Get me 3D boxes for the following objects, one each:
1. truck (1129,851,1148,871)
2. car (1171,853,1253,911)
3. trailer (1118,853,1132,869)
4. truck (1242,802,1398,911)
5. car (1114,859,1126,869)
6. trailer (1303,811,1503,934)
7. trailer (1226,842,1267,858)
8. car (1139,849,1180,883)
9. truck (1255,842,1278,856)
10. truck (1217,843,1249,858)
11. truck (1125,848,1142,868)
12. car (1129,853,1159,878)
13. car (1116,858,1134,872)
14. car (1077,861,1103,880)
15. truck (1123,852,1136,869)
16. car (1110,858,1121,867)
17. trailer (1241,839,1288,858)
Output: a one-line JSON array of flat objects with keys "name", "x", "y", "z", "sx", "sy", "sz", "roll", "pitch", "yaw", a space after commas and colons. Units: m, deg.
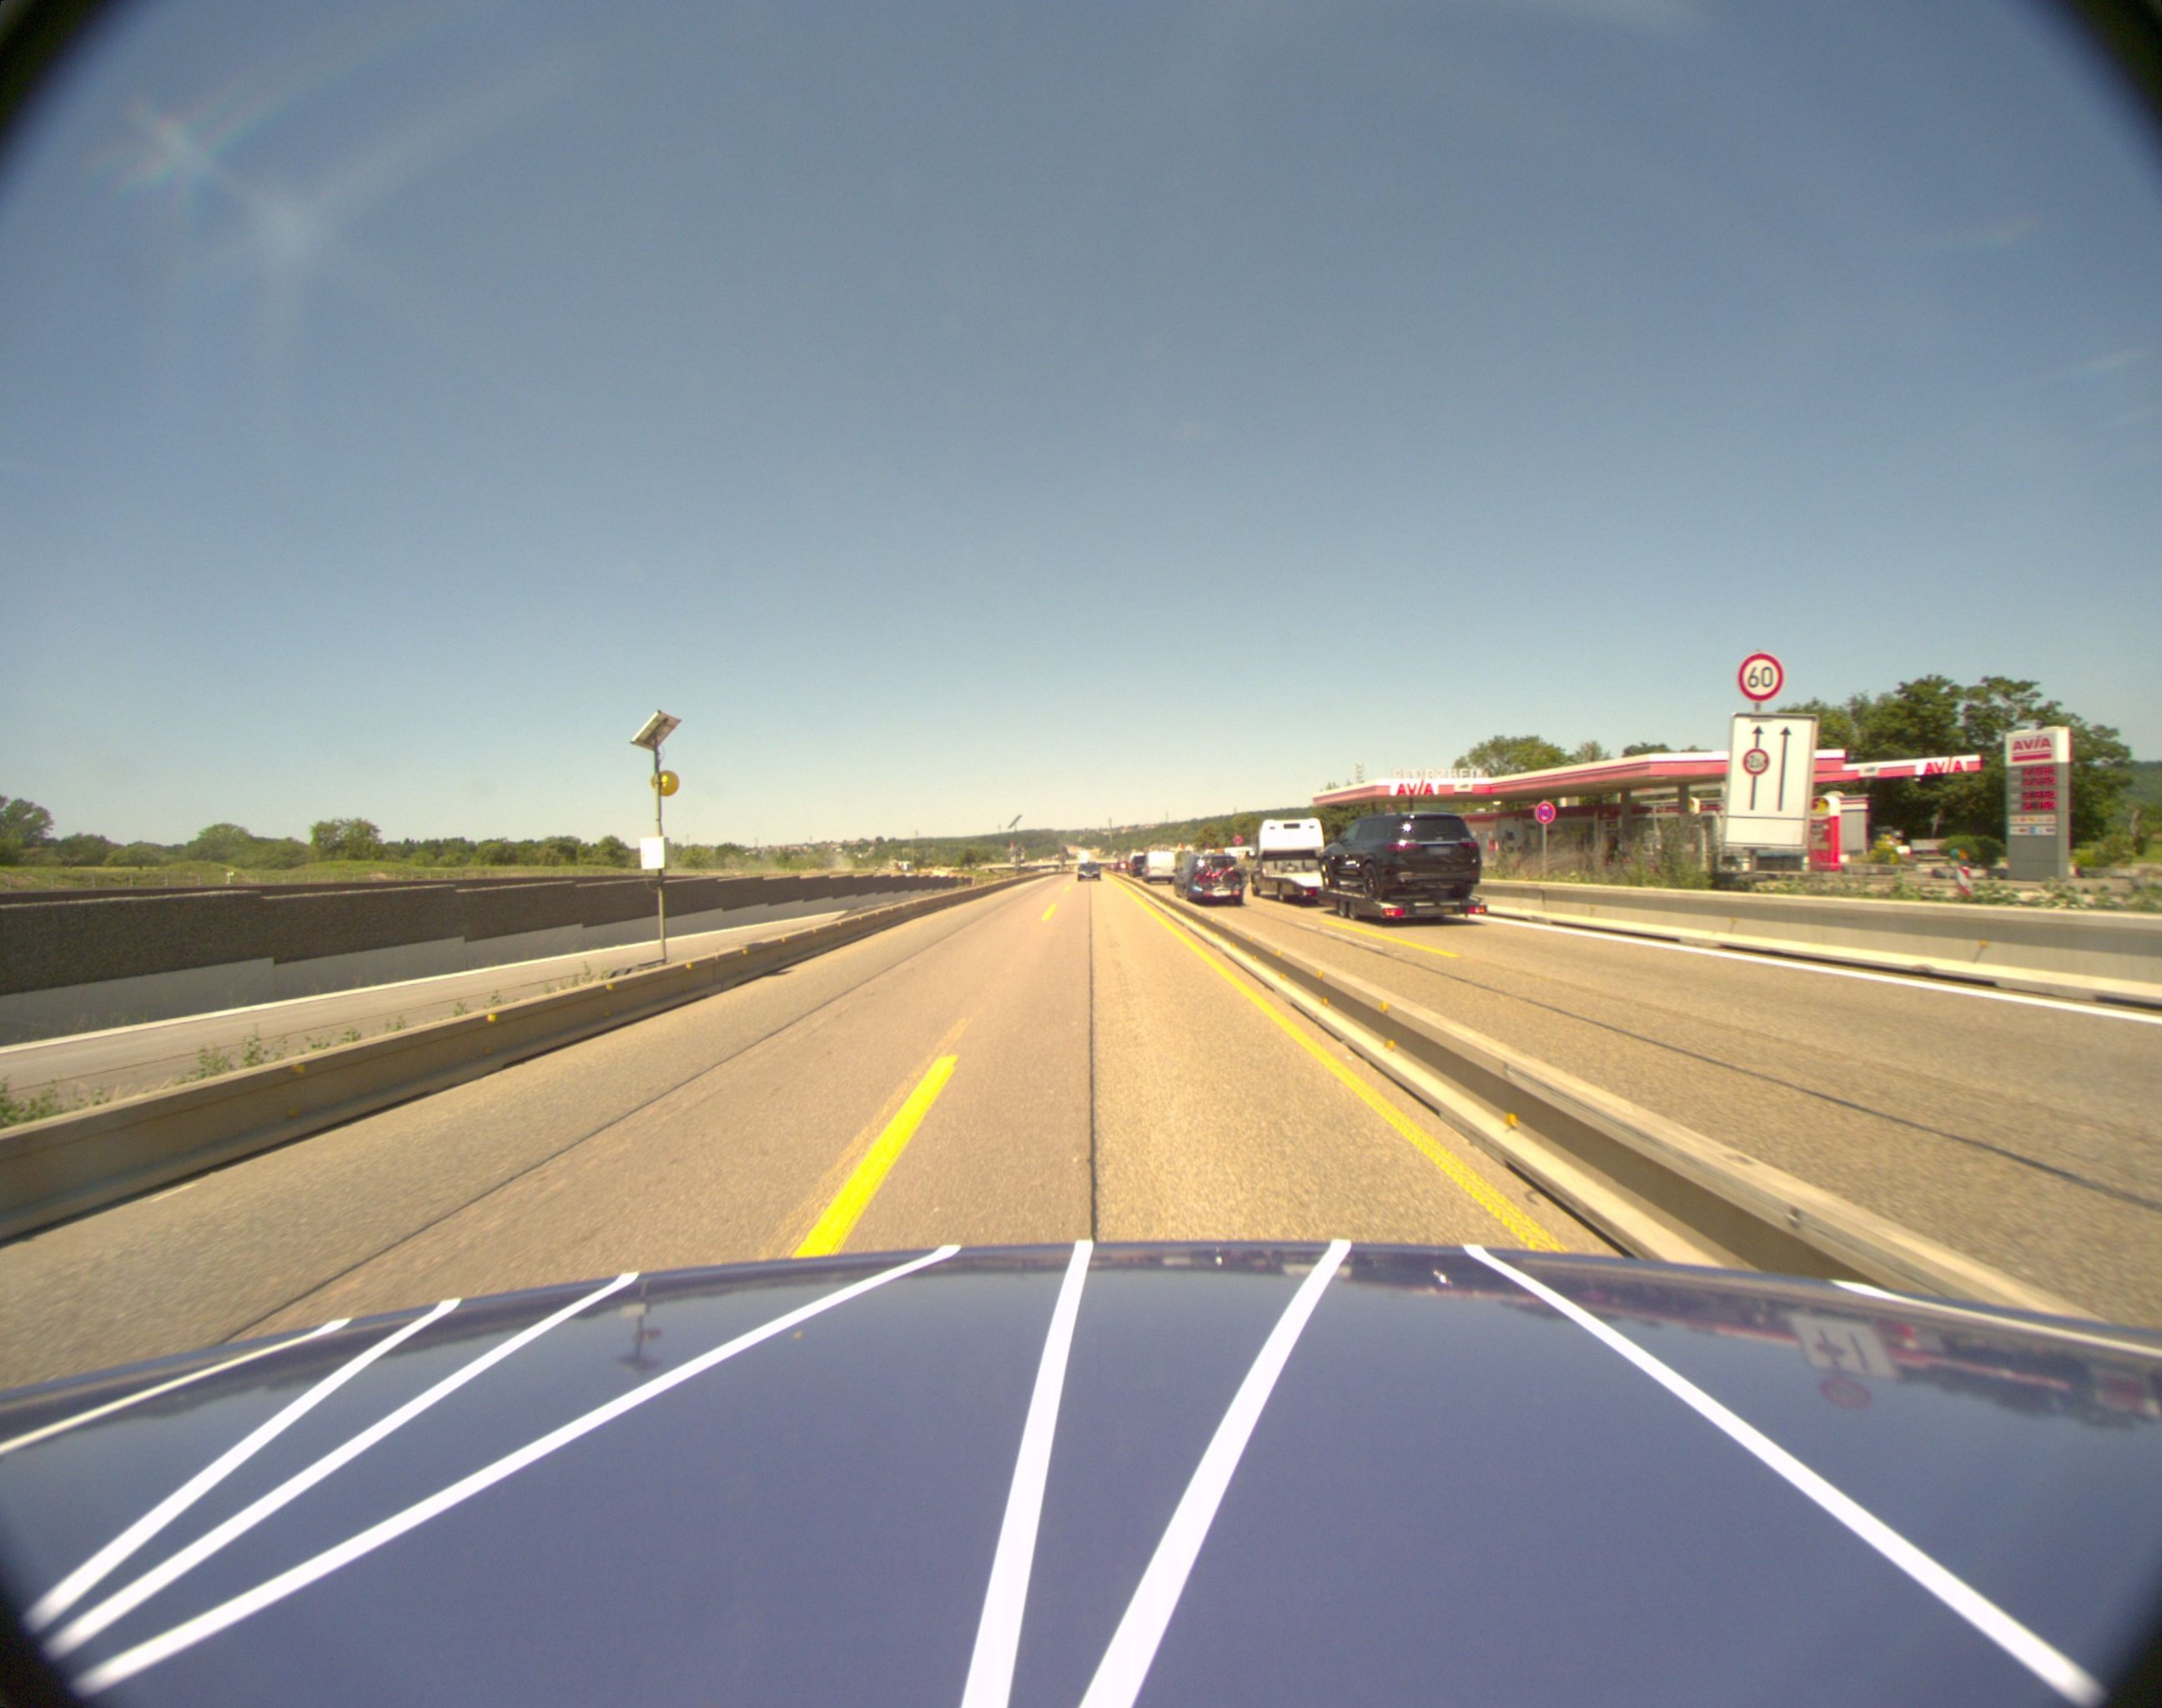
[{"name": "truck", "x": 8.369, "y": 1.028, "z": 111.563, "sx": 2.245, "sy": 2.769, "sz": 6.493, "roll": -2, "pitch": -1, "yaw": 0}, {"name": "car", "x": 4.023, "y": 0.836, "z": 23.931, "sx": 1.909, "sy": 1.599, "sz": 4.001, "roll": -2, "pitch": -1, "yaw": 1}, {"name": "trailer", "x": 11.688, "y": 1.973, "z": 202.896, "sx": 3.014, "sy": 4.173, "sz": 13.854, "roll": -2, "pitch": -1, "yaw": 2}, {"name": "truck", "x": 7.220, "y": 0.089, "z": 24.251, "sx": 2.486, "sy": 2.807, "sz": 8.129, "roll": -2, "pitch": 0, "yaw": 1}, {"name": "car", "x": 6.386, "y": 1.643, "z": 125.198, "sx": 1.943, "sy": 1.601, "sz": 4.001, "roll": -2, "pitch": -1, "yaw": 2}, {"name": "trailer", "x": 6.993, "y": 0.376, "z": 17.371, "sx": 2.187, "sy": 2.301, "sz": 5.614, "roll": -2, "pitch": 0, "yaw": 1}, {"name": "trailer", "x": 50.373, "y": -1.107, "z": 231.980, "sx": 2.625, "sy": 3.762, "sz": 12.722, "roll": -4, "pitch": -1, "yaw": -45}, {"name": "car", "x": 4.481, "y": 0.704, "z": 43.808, "sx": 1.858, "sy": 1.828, "sz": 4.591, "roll": -2, "pitch": -1, "yaw": 0}, {"name": "truck", "x": 55.472, "y": -1.503, "z": 226.987, "sx": 5.724, "sy": 3.596, "sz": 2.585, "roll": -6, "pitch": -1, "yaw": 42}, {"name": "truck", "x": 50.133, "y": -1.101, "z": 251.023, "sx": 9.869, "sy": 4.194, "sz": 3.591, "roll": -6, "pitch": -1, "yaw": 44}, {"name": "truck", "x": 8.866, "y": 0.681, "z": 128.644, "sx": 2.501, "sy": 3.272, "sz": 8.118, "roll": -1, "pitch": 0, "yaw": 2}, {"name": "car", "x": 4.830, "y": 0.872, "z": 58.687, "sx": 1.912, "sy": 1.794, "sz": 5.082, "roll": -2, "pitch": -1, "yaw": 0}, {"name": "car", "x": 5.291, "y": 1.294, "z": 91.103, "sx": 1.860, "sy": 1.594, "sz": 4.736, "roll": -2, "pitch": -1, "yaw": 0}, {"name": "car", "x": 0.719, "y": 1.197, "z": 56.354, "sx": 1.810, "sy": 1.299, "sz": 4.001, "roll": -1, "pitch": -1, "yaw": 2}, {"name": "truck", "x": 10.194, "y": 1.441, "z": 159.430, "sx": 2.395, "sy": 3.364, "sz": 7.717, "roll": -2, "pitch": -1, "yaw": 2}, {"name": "car", "x": 6.479, "y": 1.585, "z": 144.371, "sx": 1.947, "sy": 1.648, "sz": 4.746, "roll": -1, "pitch": -1, "yaw": 1}, {"name": "trailer", "x": 49.838, "y": -1.535, "z": 206.968, "sx": 2.865, "sy": 4.141, "sz": 12.348, "roll": -4, "pitch": -1, "yaw": -44}]
